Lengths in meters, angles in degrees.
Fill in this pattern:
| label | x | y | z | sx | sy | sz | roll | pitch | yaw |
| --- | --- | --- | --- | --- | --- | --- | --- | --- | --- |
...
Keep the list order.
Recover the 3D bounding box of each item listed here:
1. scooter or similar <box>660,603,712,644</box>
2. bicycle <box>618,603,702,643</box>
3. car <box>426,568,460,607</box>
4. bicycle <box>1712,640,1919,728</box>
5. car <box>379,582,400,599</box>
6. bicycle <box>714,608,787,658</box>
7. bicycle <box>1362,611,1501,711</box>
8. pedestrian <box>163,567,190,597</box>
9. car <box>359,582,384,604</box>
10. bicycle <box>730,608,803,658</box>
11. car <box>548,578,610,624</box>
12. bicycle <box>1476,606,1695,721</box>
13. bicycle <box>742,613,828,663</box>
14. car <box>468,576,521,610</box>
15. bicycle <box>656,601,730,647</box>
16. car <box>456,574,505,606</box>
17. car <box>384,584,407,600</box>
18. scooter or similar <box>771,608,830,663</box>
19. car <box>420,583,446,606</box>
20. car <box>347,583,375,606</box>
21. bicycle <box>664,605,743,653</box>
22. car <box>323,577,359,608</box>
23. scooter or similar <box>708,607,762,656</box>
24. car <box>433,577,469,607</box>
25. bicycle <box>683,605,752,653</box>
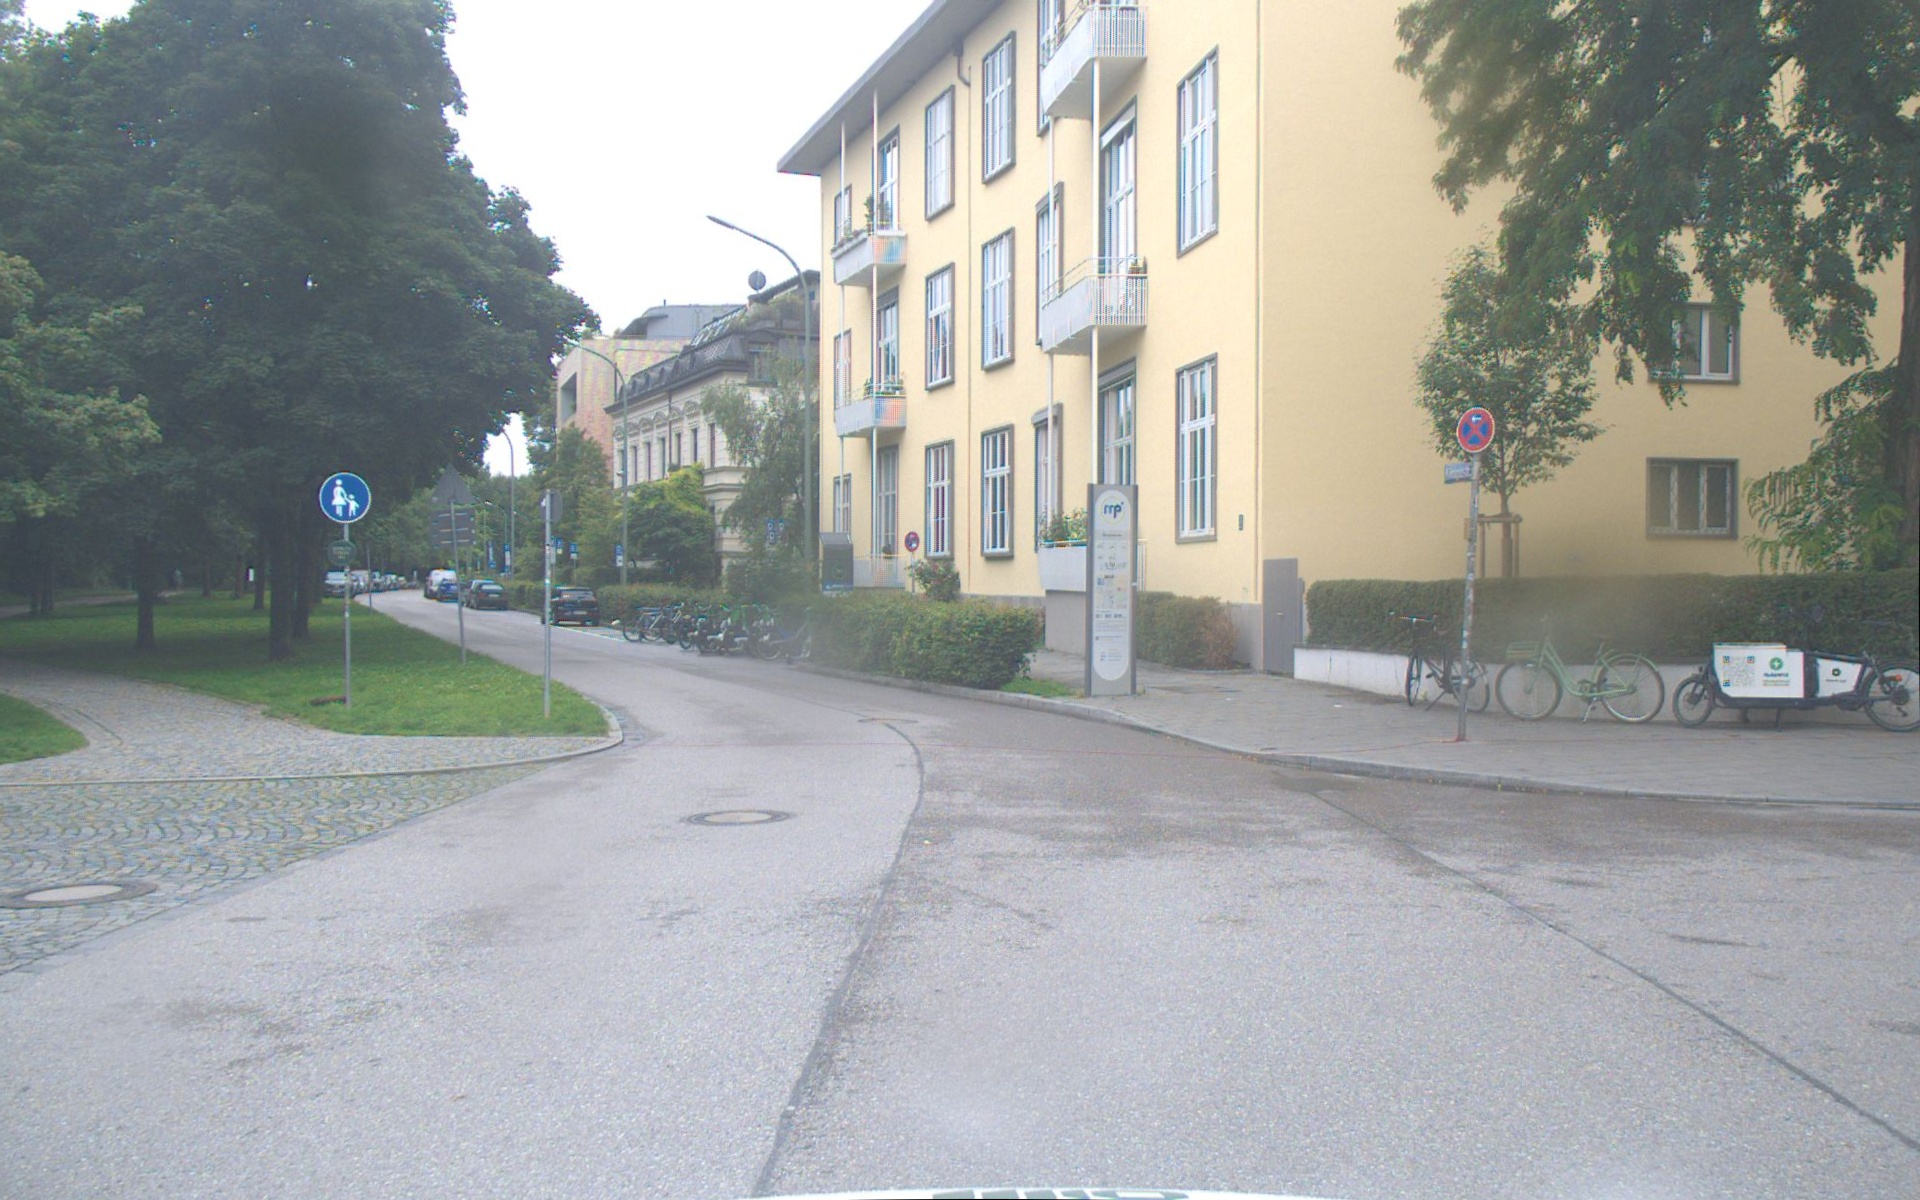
| label | x | y | z | sx | sy | sz | roll | pitch | yaw |
| --- | --- | --- | --- | --- | --- | --- | --- | --- | --- |
| scooter or similar | -7.750 | 0.668 | 46.774 | 1.377 | 1.107 | 0.596 | -1 | 0 | -4 |
| bicycle | -8.793 | 0.672 | 48.535 | 2.304 | 1.104 | 0.686 | -1 | 0 | -28 |
| car | -35.618 | -0.829 | 113.917 | 1.850 | 2.613 | 4.898 | -1 | 1 | -22 |
| bicycle | 8.499 | 0.804 | 16.050 | 2.165 | 0.792 | 0.610 | 0 | 0 | 24 |
| car | -57.139 | -0.958 | 165.756 | 1.963 | 1.601 | 3.978 | -1 | 1 | -19 |
| bicycle | -4.954 | 0.772 | 39.281 | 0.566 | 1.104 | 1.927 | -1 | 1 | 35 |
| bicycle | 5.618 | 0.695 | 19.848 | 0.598 | 1.091 | 2.210 | -1 | 0 | -13 |
| pedestrian | -52.754 | -1.217 | 111.372 | 1.014 | 1.979 | 1.323 | -1 | 0 | 35 |
| car | -52.255 | -0.595 | 146.929 | 1.964 | 1.870 | 3.978 | -1 | 1 | -19 |
| bicycle | -4.510 | 0.755 | 38.684 | 0.566 | 1.104 | 1.927 | -1 | 1 | 35 |
| car | -14.504 | 0.018 | 62.743 | 1.835 | 1.662 | 4.259 | -1 | 1 | -19 |
| bicycle | 6.587 | 0.637 | 17.530 | 0.604 | 1.136 | 2.187 | 0 | 0 | -38 |
| bicycle | -3.855 | 0.828 | 36.429 | 1.799 | 1.023 | 0.573 | -1 | 0 | -25 |
| car | -24.272 | -0.379 | 86.072 | 2.146 | 1.686 | 4.475 | -1 | 1 | -22 |
| bicycle | -6.858 | 0.608 | 42.636 | 0.748 | 1.104 | 2.139 | -1 | 1 | 27 |
| car | -26.654 | -0.563 | 91.797 | 2.146 | 1.686 | 4.475 | -1 | 1 | -22 |
| car | -59.285 | -0.870 | 173.852 | 1.961 | 1.601 | 3.984 | -1 | 1 | -15 |
| scooter or similar | -3.377 | 0.744 | 35.098 | 0.486 | 1.128 | 1.407 | -1 | 0 | 31 |
| car | -39.651 | -0.424 | 124.466 | 1.621 | 1.681 | 4.256 | 0 | 0 | -21 |
| car | -50.499 | -0.502 | 139.575 | 1.962 | 1.870 | 3.981 | -1 | 1 | -17 |
| bicycle | -6.307 | 0.695 | 40.818 | 0.682 | 1.104 | 2.336 | -1 | 1 | 27 |
| car | -38.534 | -0.449 | 102.901 | 1.966 | 1.870 | 3.974 | -1 | 1 | -22 |
| scooter or similar | -5.386 | 0.747 | 39.673 | 0.486 | 1.107 | 1.407 | -1 | 1 | 31 |
| car | -32.338 | -0.511 | 104.962 | 1.850 | 1.847 | 3.973 | -1 | 1 | -22 |
| bicycle | -5.857 | 0.694 | 40.053 | 0.625 | 1.104 | 1.983 | -1 | 1 | 27 |
